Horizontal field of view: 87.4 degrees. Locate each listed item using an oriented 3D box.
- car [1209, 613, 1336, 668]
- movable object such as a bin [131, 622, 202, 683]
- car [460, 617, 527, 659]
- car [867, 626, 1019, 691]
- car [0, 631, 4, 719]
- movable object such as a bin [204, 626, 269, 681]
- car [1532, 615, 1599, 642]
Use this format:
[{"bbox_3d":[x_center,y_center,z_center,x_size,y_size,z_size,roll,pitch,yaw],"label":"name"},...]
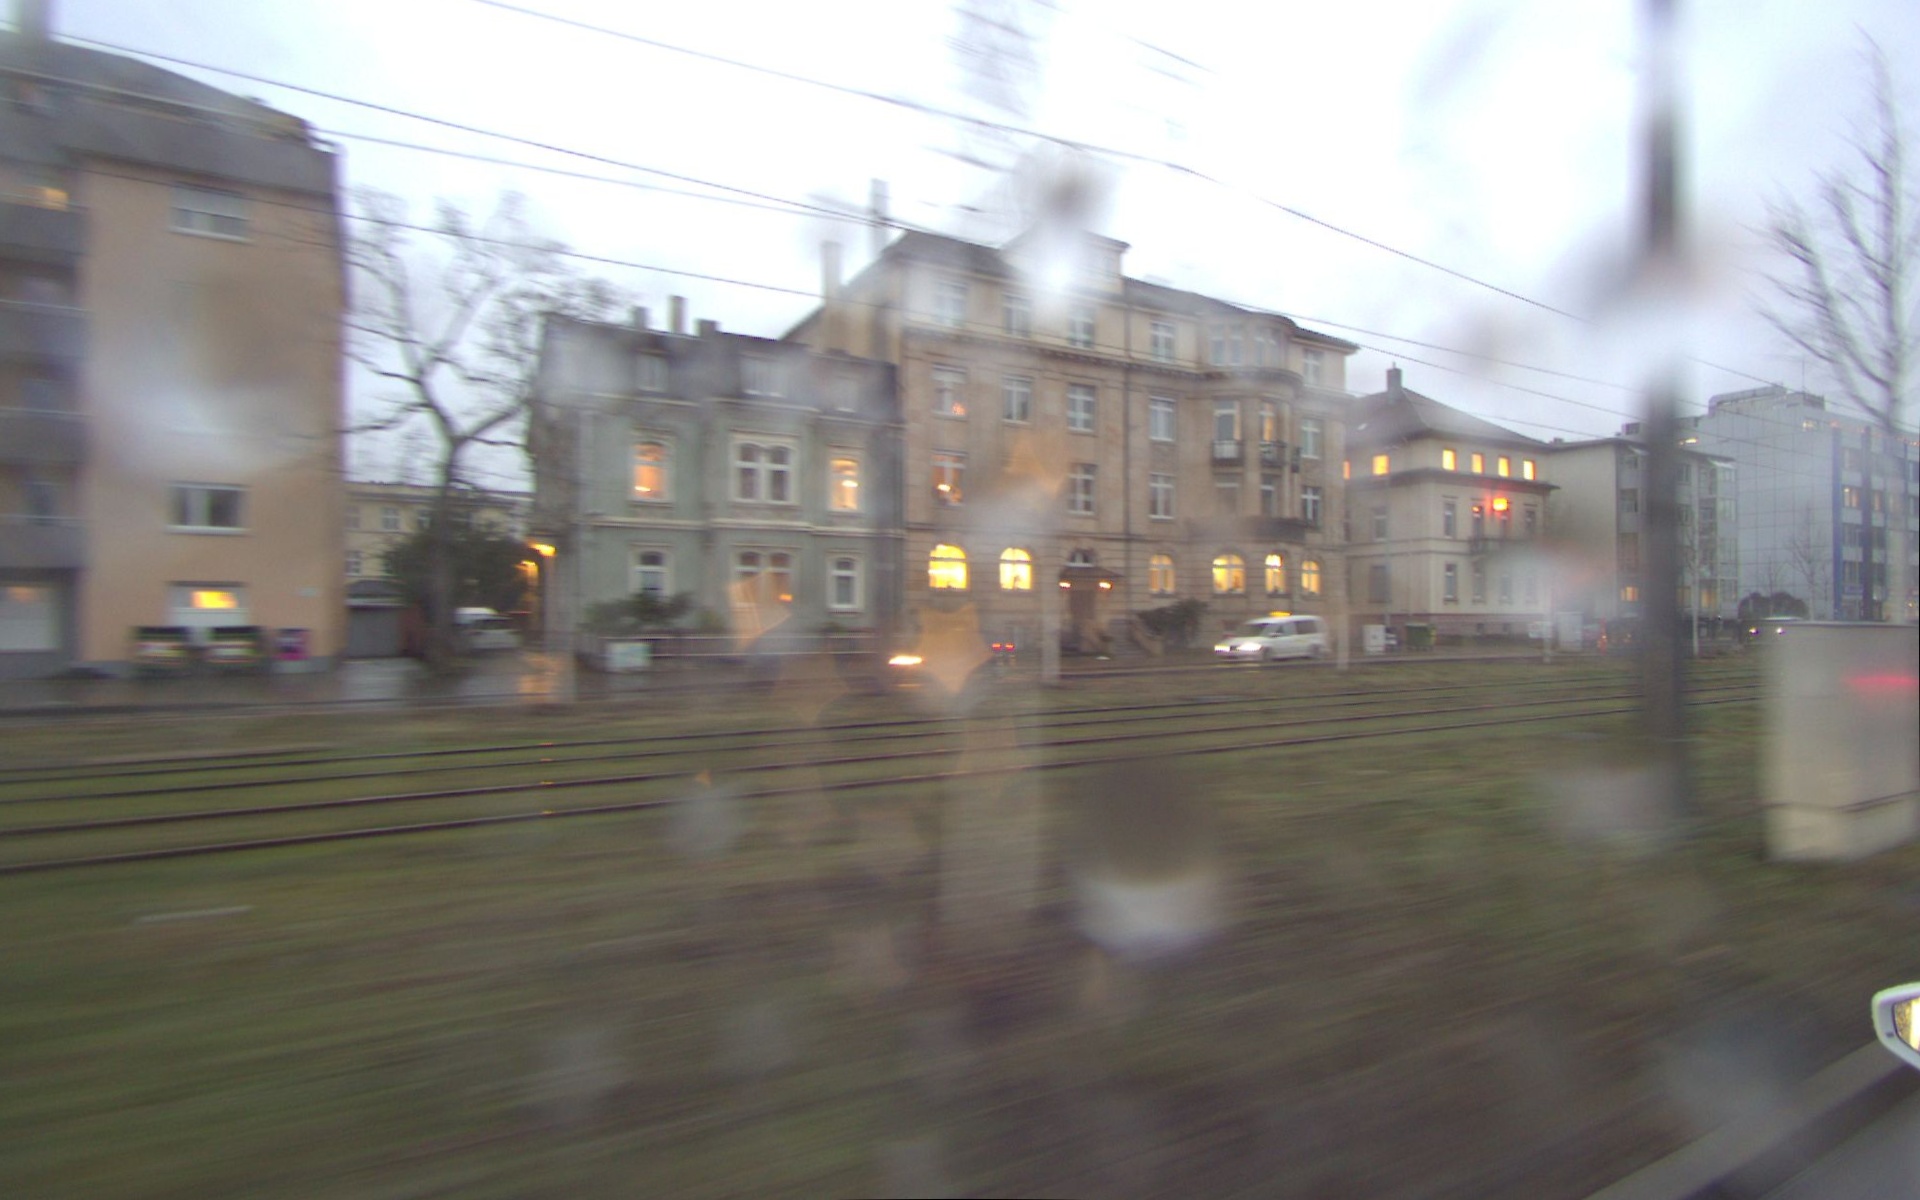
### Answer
[{"bbox_3d":[11.949,1.492,38.359,4.858,1.958,1.982,0,-1,-33],"label":"car"},{"bbox_3d":[-21.676,1.415,27.471,1.409,1.581,1.101,0,-1,-33],"label":"movable object such as a bin"},{"bbox_3d":[-17.149,1.348,36.817,1.812,1.425,3.967,1,-1,-31],"label":"car"},{"bbox_3d":[-0.479,1.659,29.494,4.066,1.715,1.983,0,-2,-33],"label":"car"},{"bbox_3d":[-18.872,1.361,16.704,3.954,1.606,1.792,1,1,-31],"label":"car"},{"bbox_3d":[-20.372,1.489,28.330,1.409,1.500,1.101,0,-1,-33],"label":"movable object such as a bin"},{"bbox_3d":[34.818,1.619,57.735,3.884,1.455,1.796,0,-2,-33],"label":"car"}]
